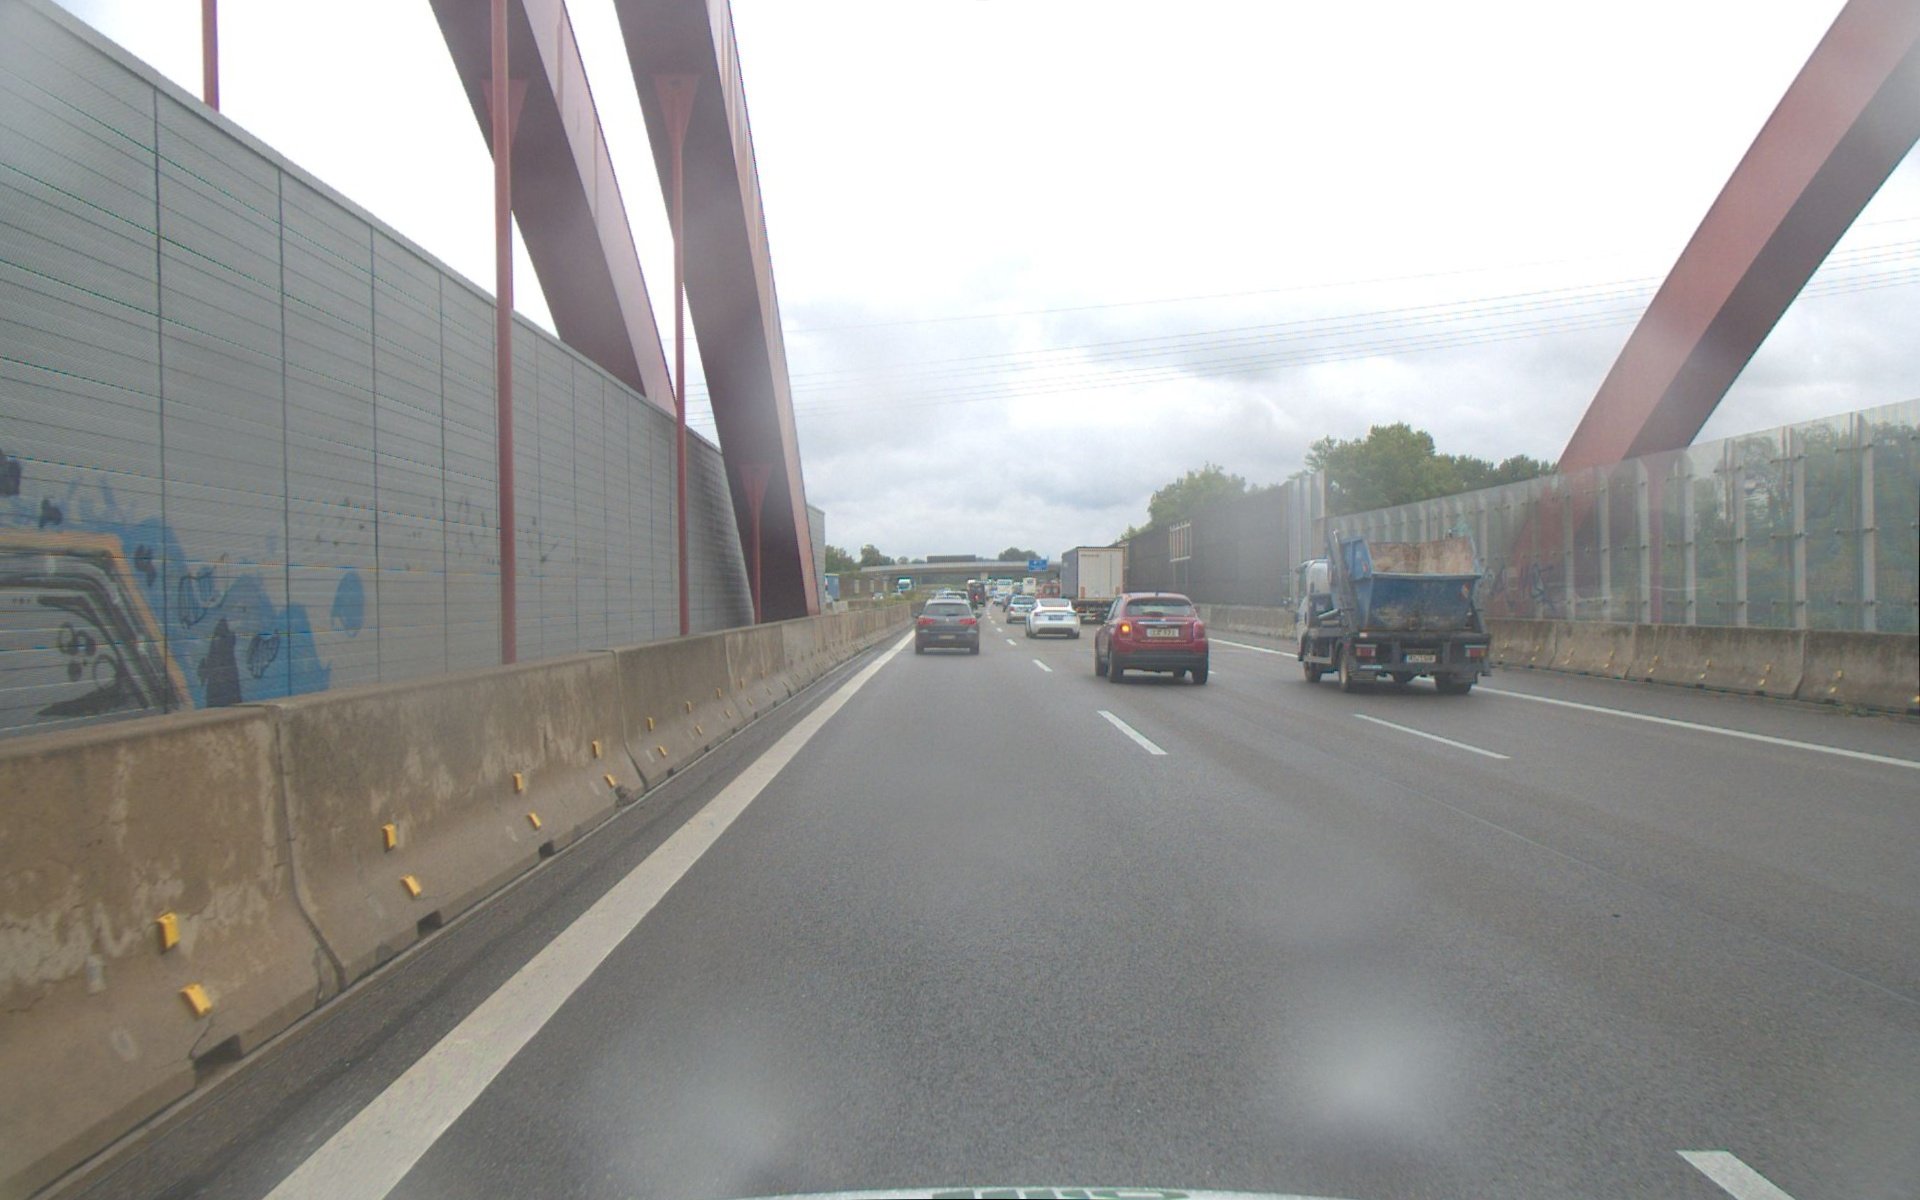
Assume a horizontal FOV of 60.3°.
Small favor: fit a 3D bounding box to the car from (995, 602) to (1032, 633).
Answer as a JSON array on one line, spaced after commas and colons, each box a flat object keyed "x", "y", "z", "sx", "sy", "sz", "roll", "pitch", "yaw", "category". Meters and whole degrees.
[{"x": 2.819, "y": 0.905, "z": 88.038, "sx": 1.668, "sy": 1.570, "sz": 3.837, "roll": 0, "pitch": 0, "yaw": -2, "category": "car"}]

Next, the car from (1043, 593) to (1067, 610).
[{"x": 9.000, "y": 0.131, "z": 156.719, "sx": 1.953, "sy": 1.545, "sz": 4.000, "roll": 0, "pitch": 0, "yaw": 0, "category": "car"}]

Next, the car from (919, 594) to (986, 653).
[{"x": -0.231, "y": 0.592, "z": 44.412, "sx": 1.728, "sy": 1.478, "sz": 3.999, "roll": 0, "pitch": 0, "yaw": -1, "category": "car"}]

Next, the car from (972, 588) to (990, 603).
[{"x": 2.274, "y": -0.519, "z": 182.660, "sx": 1.952, "sy": 1.652, "sz": 4.000, "roll": 0, "pitch": 0, "yaw": 1, "category": "car"}]

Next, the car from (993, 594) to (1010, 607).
[{"x": 4.915, "y": 0.076, "z": 195.540, "sx": 1.953, "sy": 1.545, "sz": 4.000, "roll": 0, "pitch": 0, "yaw": 0, "category": "car"}]

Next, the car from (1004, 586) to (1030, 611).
[{"x": 4.835, "y": -0.141, "z": 140.247, "sx": 1.953, "sy": 2.049, "sz": 3.999, "roll": 1, "pitch": 0, "yaw": -2, "category": "car"}]

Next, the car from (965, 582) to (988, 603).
[{"x": 1.514, "y": -0.675, "z": 152.214, "sx": 1.953, "sy": 1.847, "sz": 3.999, "roll": 0, "pitch": 0, "yaw": -2, "category": "car"}]

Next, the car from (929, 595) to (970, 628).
[{"x": -0.513, "y": 0.517, "z": 75.092, "sx": 1.746, "sy": 1.431, "sz": 3.625, "roll": 0, "pitch": 0, "yaw": -2, "category": "car"}]

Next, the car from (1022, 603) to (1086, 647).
[{"x": 3.422, "y": 0.894, "z": 60.740, "sx": 1.953, "sy": 1.512, "sz": 3.998, "roll": 0, "pitch": 0, "yaw": -2, "category": "car"}]

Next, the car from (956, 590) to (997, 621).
[{"x": 0.864, "y": 0.275, "z": 88.257, "sx": 1.954, "sy": 1.612, "sz": 3.998, "roll": 0, "pitch": 0, "yaw": -3, "category": "car"}]

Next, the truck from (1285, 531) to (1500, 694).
[{"x": 7.420, "y": 0.176, "z": 29.161, "sx": 2.312, "sy": 2.550, "sz": 6.145, "roll": 0, "pitch": 0, "yaw": 1, "category": "truck"}]

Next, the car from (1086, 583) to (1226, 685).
[{"x": 3.554, "y": 0.564, "z": 30.662, "sx": 1.918, "sy": 1.676, "sz": 3.999, "roll": 2, "pitch": 1, "yaw": -2, "category": "car"}]

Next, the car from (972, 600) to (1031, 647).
[{"x": 1.406, "y": 0.797, "z": 57.391, "sx": 1.952, "sy": 1.545, "sz": 4.000, "roll": 0, "pitch": 0, "yaw": 1, "category": "car"}]

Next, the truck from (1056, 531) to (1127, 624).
[{"x": 7.098, "y": -1.195, "z": 90.212, "sx": 2.983, "sy": 4.817, "sz": 7.677, "roll": 1, "pitch": 0, "yaw": -1, "category": "truck"}]
